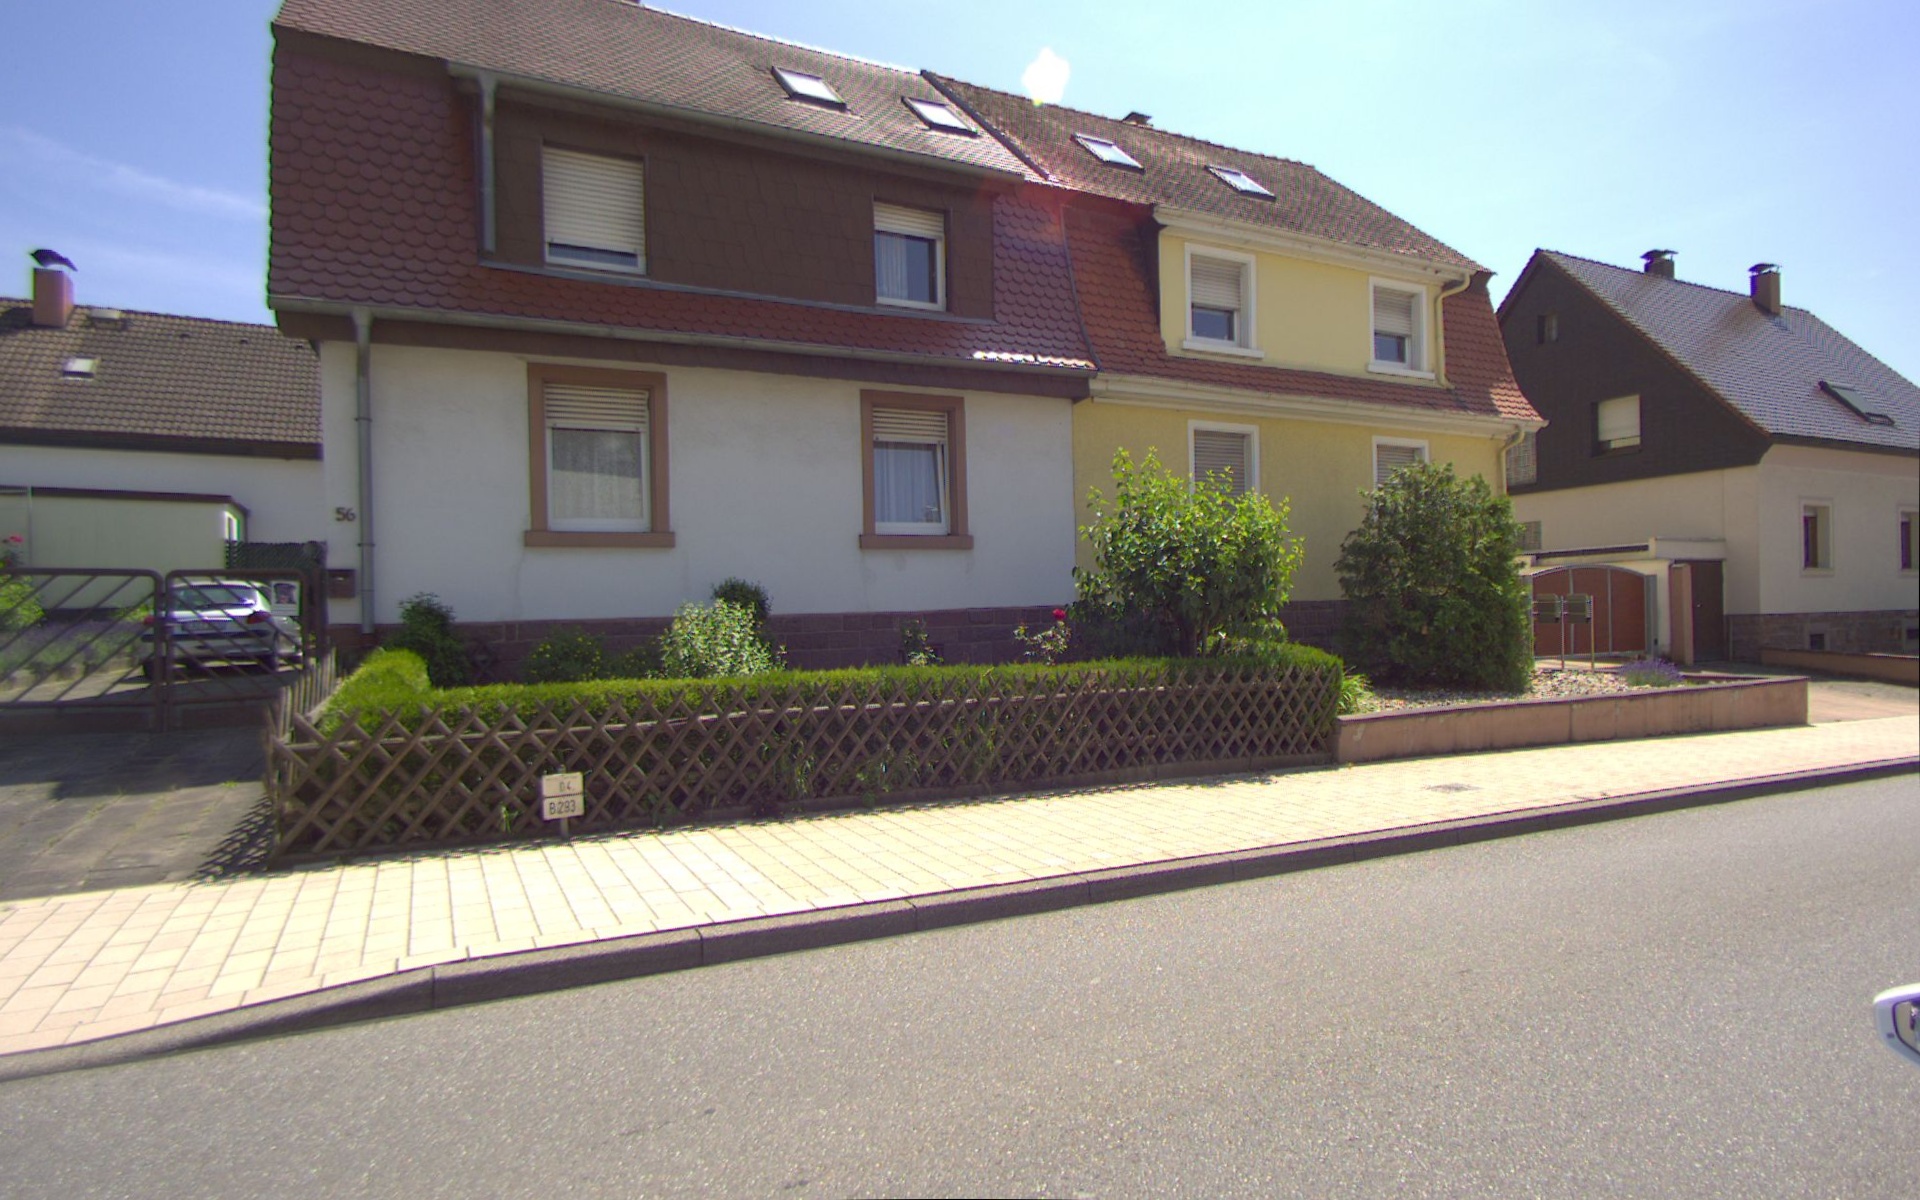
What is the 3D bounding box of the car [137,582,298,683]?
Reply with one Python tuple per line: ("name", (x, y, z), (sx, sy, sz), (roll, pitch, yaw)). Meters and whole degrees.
("car", (-11.916, 0.471, 16.344), (1.560, 1.411, 3.773), (-2, 1, -29))
